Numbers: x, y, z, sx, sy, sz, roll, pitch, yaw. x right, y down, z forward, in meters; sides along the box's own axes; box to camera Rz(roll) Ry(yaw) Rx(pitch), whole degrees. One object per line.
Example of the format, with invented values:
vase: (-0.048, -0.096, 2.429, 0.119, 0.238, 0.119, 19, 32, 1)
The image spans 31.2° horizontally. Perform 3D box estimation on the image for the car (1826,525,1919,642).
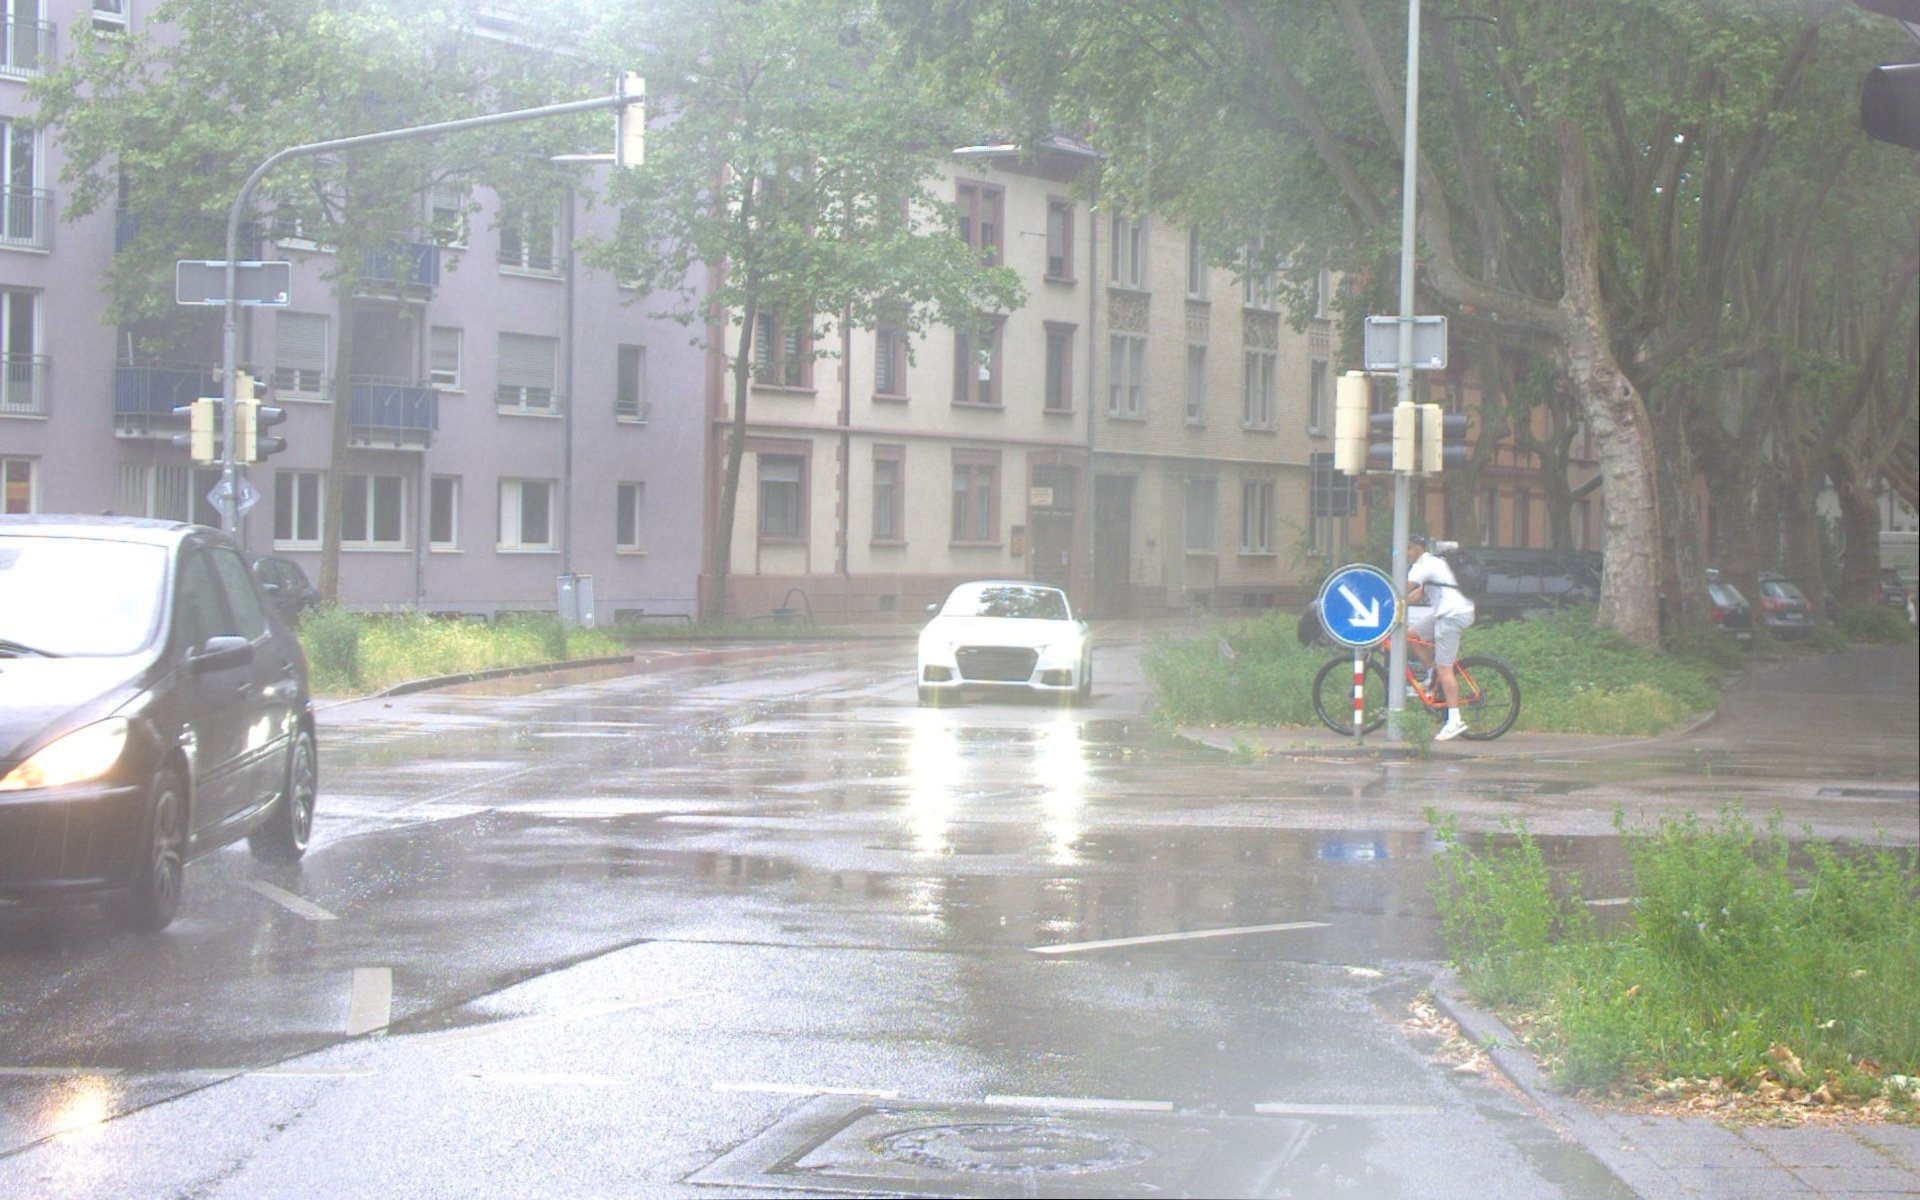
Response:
car: (24.393, -0.429, 87.726, 2.033, 2.938, 4.773, 1, 1, -21)

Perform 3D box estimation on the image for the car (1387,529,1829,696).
car: (6.169, 0.096, 32.714, 3.989, 1.481, 1.999, 1, 1, 12)

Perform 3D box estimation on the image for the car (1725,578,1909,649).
car: (19.573, 0.294, 78.664, 3.989, 1.542, 1.999, 1, 1, 12)

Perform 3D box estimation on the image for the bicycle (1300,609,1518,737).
bicycle: (3.965, 0.639, 30.405, 1.873, 1.077, 0.657, 1, 0, 8)

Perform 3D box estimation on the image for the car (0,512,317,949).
car: (-3.676, 0.409, 13.355, 1.714, 1.454, 3.748, 1, 1, -1)

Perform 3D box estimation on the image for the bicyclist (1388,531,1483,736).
bicyclist: (4.197, 0.292, 30.373, 0.795, 1.780, 0.697, 1, 0, 8)

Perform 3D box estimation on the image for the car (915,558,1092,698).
car: (0.517, 0.277, 39.095, 1.884, 1.431, 4.000, 1, 1, 1)

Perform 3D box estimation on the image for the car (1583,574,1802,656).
car: (13.939, 0.273, 65.435, 3.989, 1.481, 1.999, 1, 1, 12)
